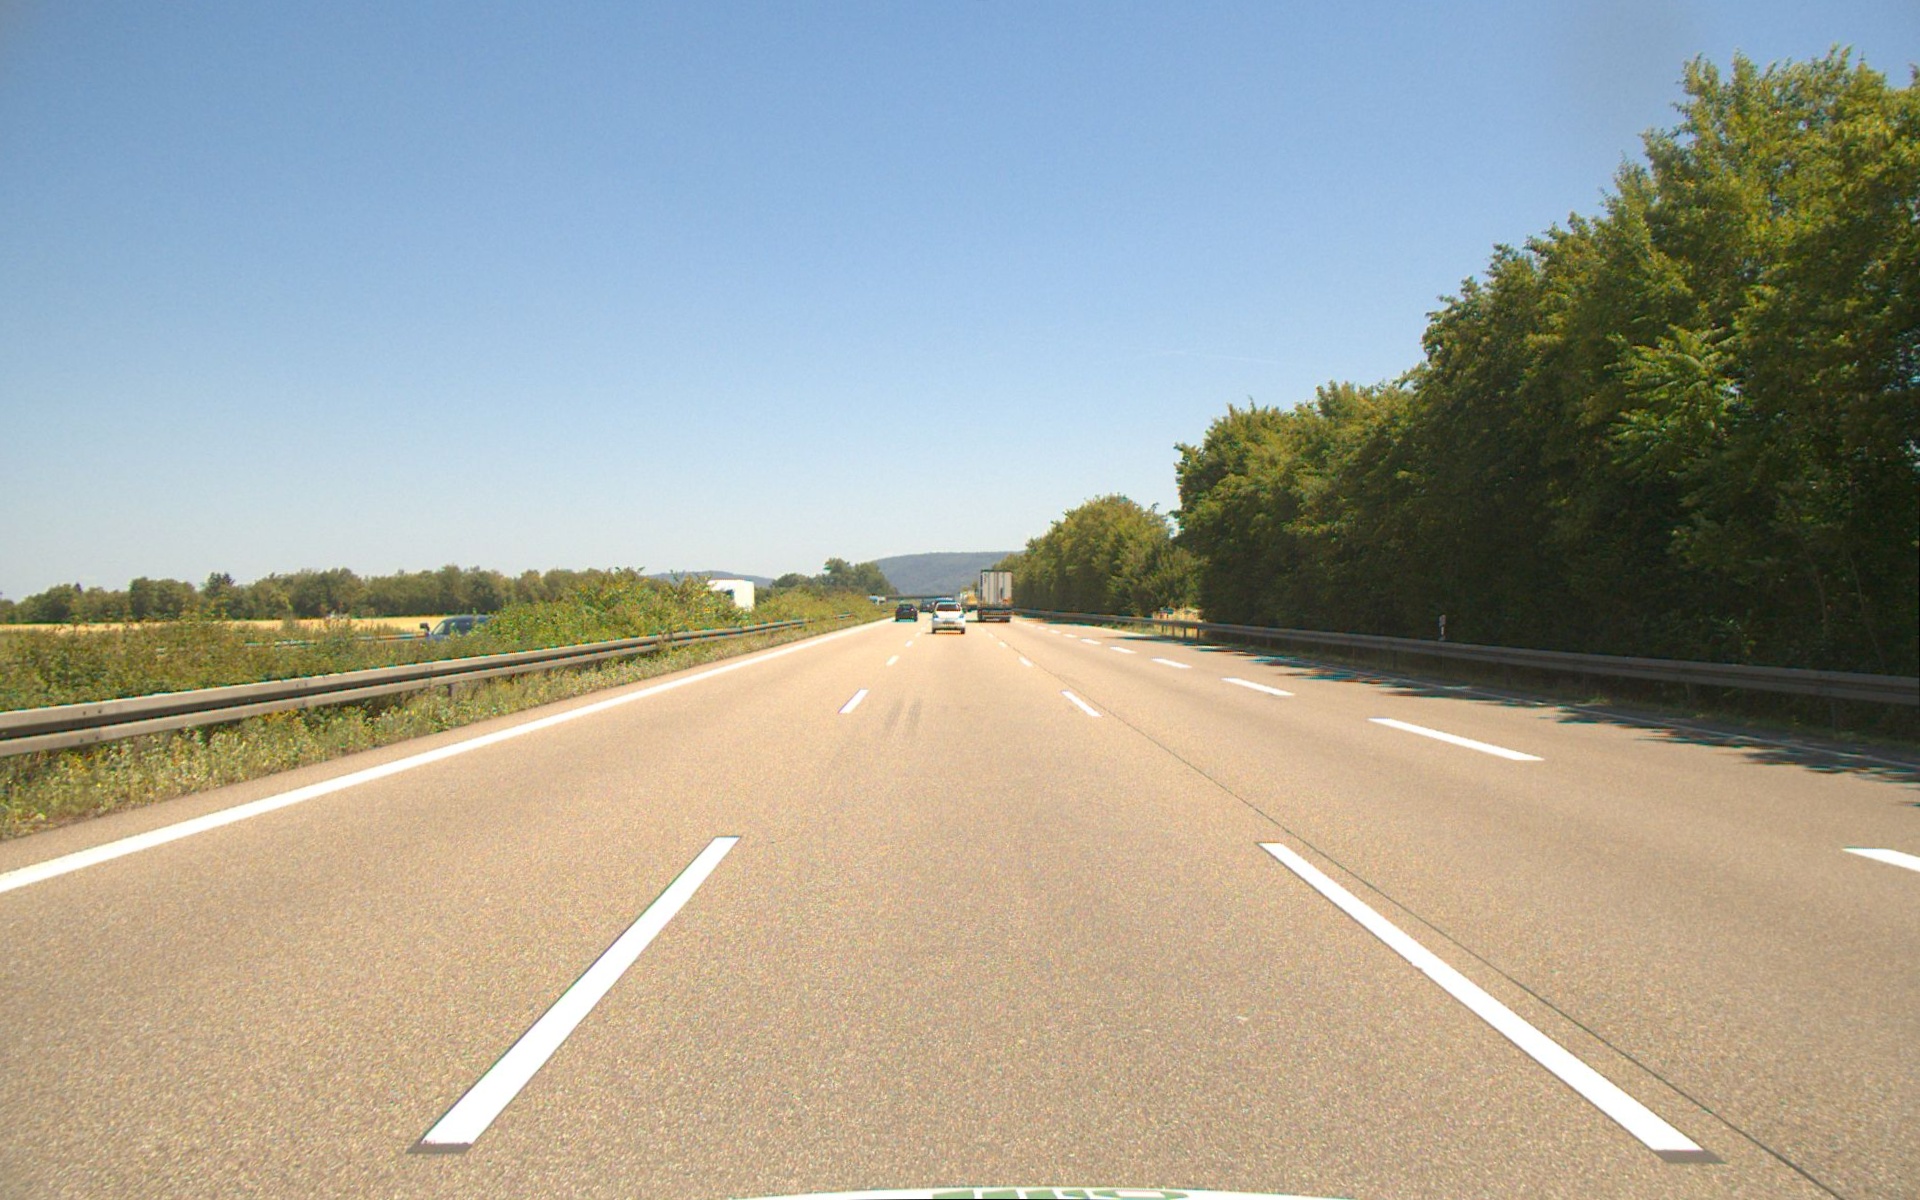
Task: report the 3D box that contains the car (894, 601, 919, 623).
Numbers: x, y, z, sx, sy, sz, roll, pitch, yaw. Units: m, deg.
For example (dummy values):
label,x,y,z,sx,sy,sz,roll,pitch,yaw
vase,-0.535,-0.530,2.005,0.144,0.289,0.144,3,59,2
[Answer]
label,x,y,z,sx,sy,sz,roll,pitch,yaw
car,-4.242,0.949,132.485,1.953,1.742,3.999,1,0,-1

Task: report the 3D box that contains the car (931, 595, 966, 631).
label,x,y,z,sx,sy,sz,roll,pitch,yaw
car,-0.595,0.617,82.377,1.697,1.713,3.999,-1,0,-1

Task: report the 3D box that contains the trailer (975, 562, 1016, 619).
label,x,y,z,sx,sy,sz,roll,pitch,yaw
trailer,2.982,-0.710,136.132,3.151,4.421,13.631,1,0,2

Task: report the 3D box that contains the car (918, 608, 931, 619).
label,x,y,z,sx,sy,sz,roll,pitch,yaw
car,-5.102,1.930,239.216,1.759,1.578,3.999,0,-1,-1

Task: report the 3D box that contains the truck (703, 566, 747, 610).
label,x,y,z,sx,sy,sz,roll,pitch,yaw
truck,-20.854,-1.052,147.119,3.115,3.763,6.035,1,0,-1

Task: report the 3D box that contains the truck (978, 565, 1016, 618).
label,x,y,z,sx,sy,sz,roll,pitch,yaw
truck,3.210,-0.682,143.589,3.151,4.421,6.591,1,0,2
